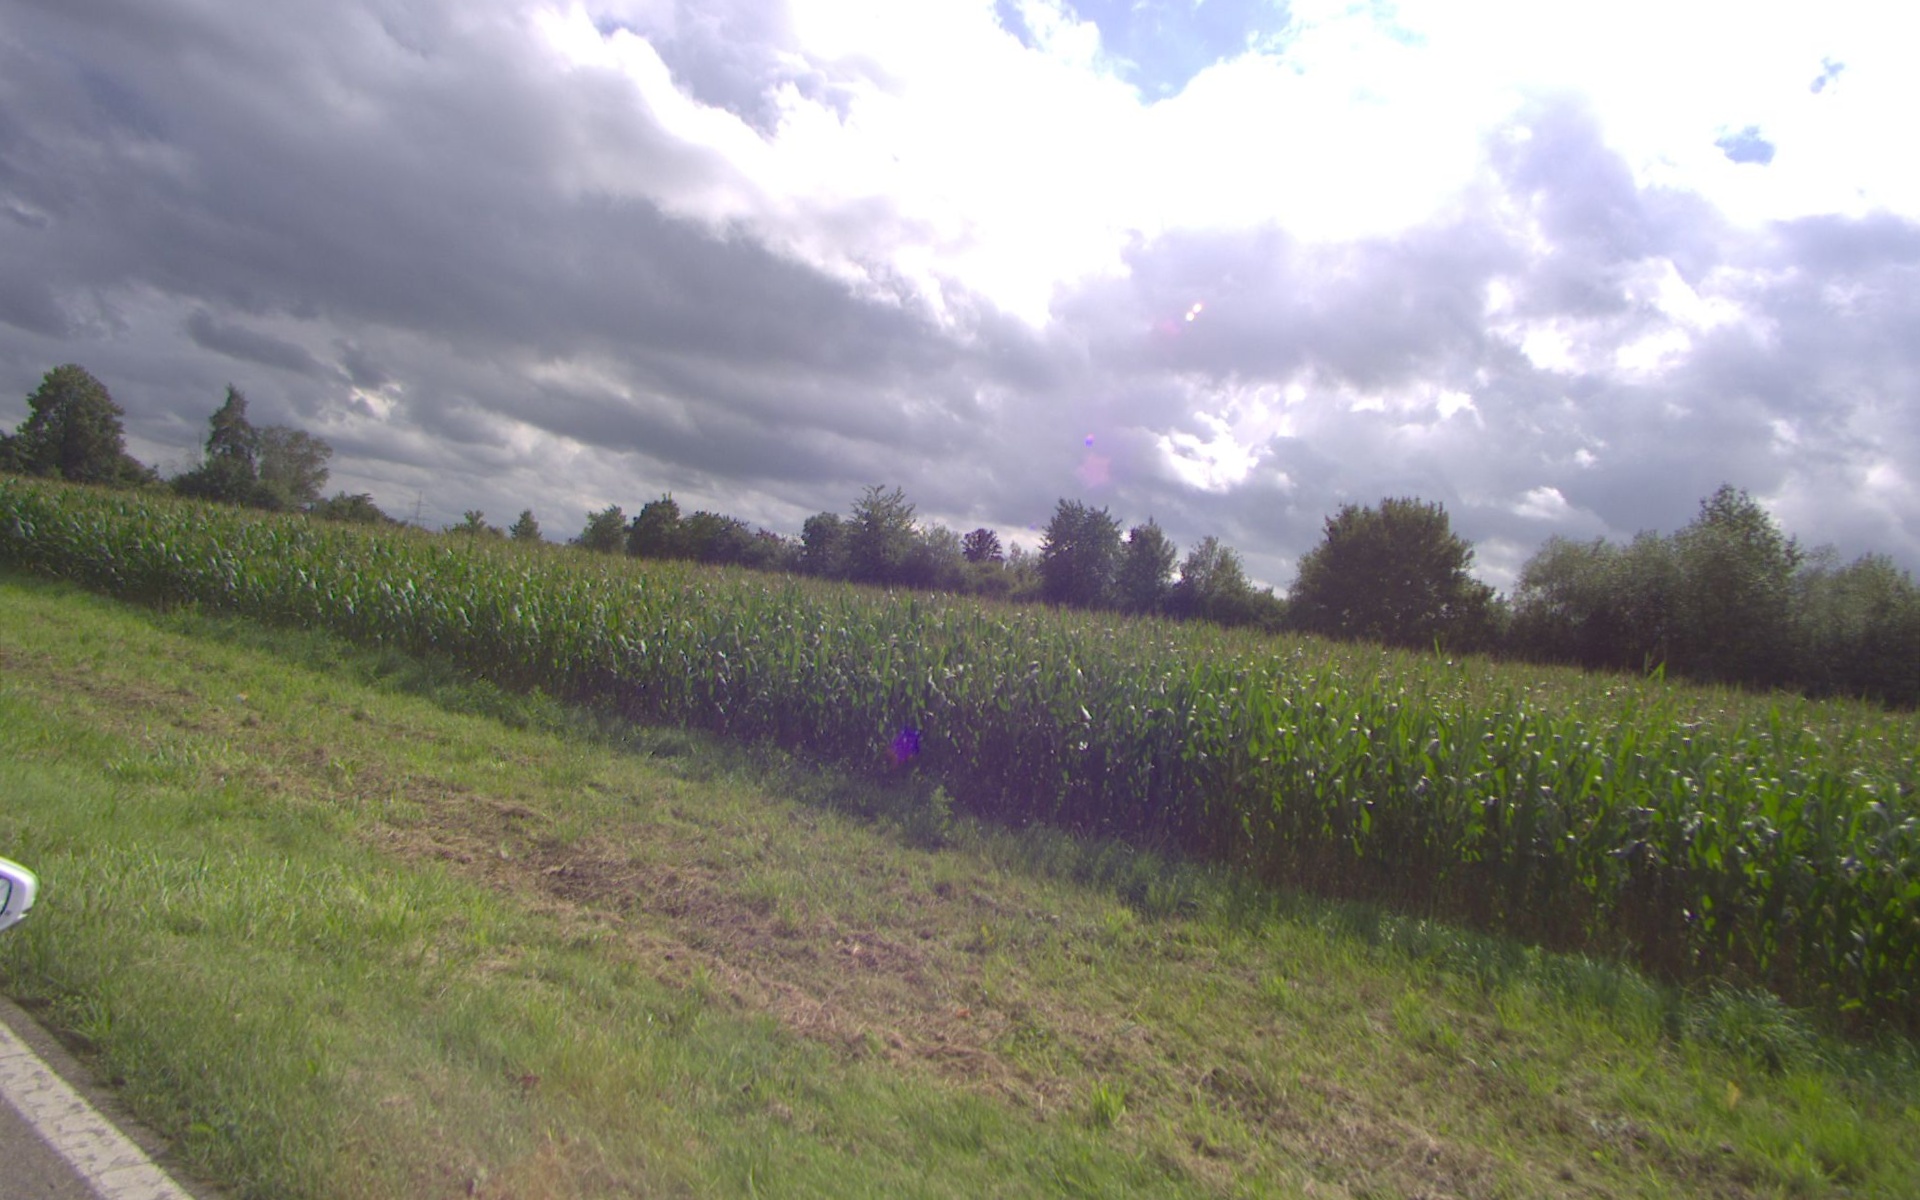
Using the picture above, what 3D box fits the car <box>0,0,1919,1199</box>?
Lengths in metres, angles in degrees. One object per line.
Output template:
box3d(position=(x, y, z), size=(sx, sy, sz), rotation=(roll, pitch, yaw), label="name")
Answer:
box3d(position=(-1.211, 0.492, 0.301), size=(3.924, 2.036, 2.003), rotation=(7, -3, 7), label="car")
